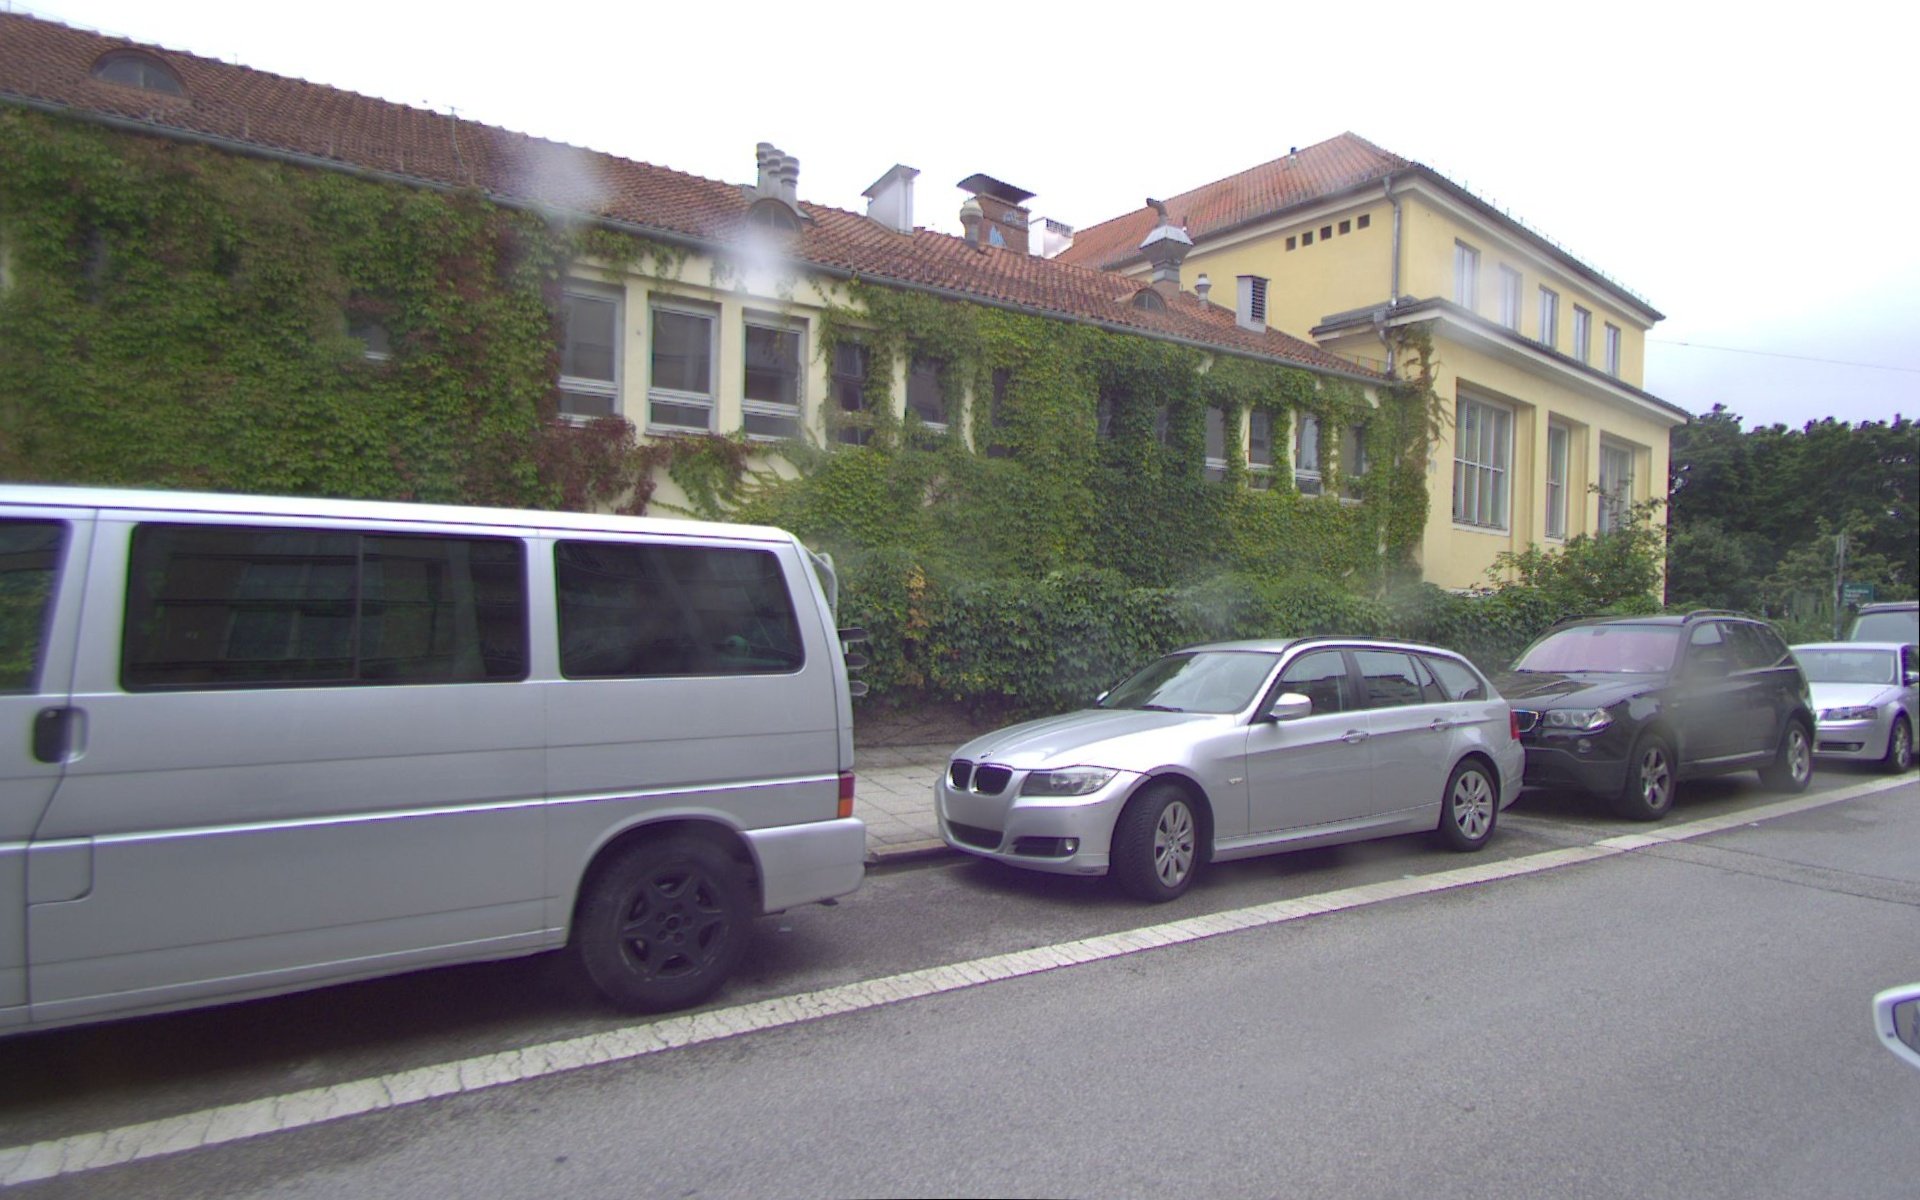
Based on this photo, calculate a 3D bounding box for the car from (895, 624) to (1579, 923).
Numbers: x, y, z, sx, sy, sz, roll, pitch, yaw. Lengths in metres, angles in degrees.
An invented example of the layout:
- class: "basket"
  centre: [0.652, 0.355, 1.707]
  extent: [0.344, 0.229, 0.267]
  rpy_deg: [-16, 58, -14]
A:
- class: "car"
  centre: [2.024, 0.924, 6.771]
  extent: [4.715, 1.433, 1.645]
  rpy_deg: [1, -3, -31]

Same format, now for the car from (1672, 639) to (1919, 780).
- class: "car"
  centre: [10.541, 1.201, 12.027]
  extent: [4.451, 1.411, 1.686]
  rpy_deg: [1, -4, -32]

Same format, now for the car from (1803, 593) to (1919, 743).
- class: "car"
  centre: [14.731, 0.978, 15.039]
  extent: [5.299, 1.990, 2.059]
  rpy_deg: [2, -2, -36]

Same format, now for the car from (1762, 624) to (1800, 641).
- class: "car"
  centre: [83.062, 3.295, 101.697]
  extent: [1.962, 1.627, 3.998]
  rpy_deg: [1, -1, 24]

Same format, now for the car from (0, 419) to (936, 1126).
- class: "car"
  centre: [-2.597, 0.512, 3.826]
  extent: [4.717, 1.914, 1.879]
  rpy_deg: [2, -3, -30]

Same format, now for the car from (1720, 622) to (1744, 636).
- class: "car"
  centre: [92.454, 3.478, 120.378]
  extent: [1.966, 1.627, 3.989]
  rpy_deg: [1, -1, 33]

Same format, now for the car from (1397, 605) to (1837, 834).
- class: "car"
  centre: [6.143, 0.954, 9.249]
  extent: [4.440, 1.664, 1.688]
  rpy_deg: [2, -3, -32]
